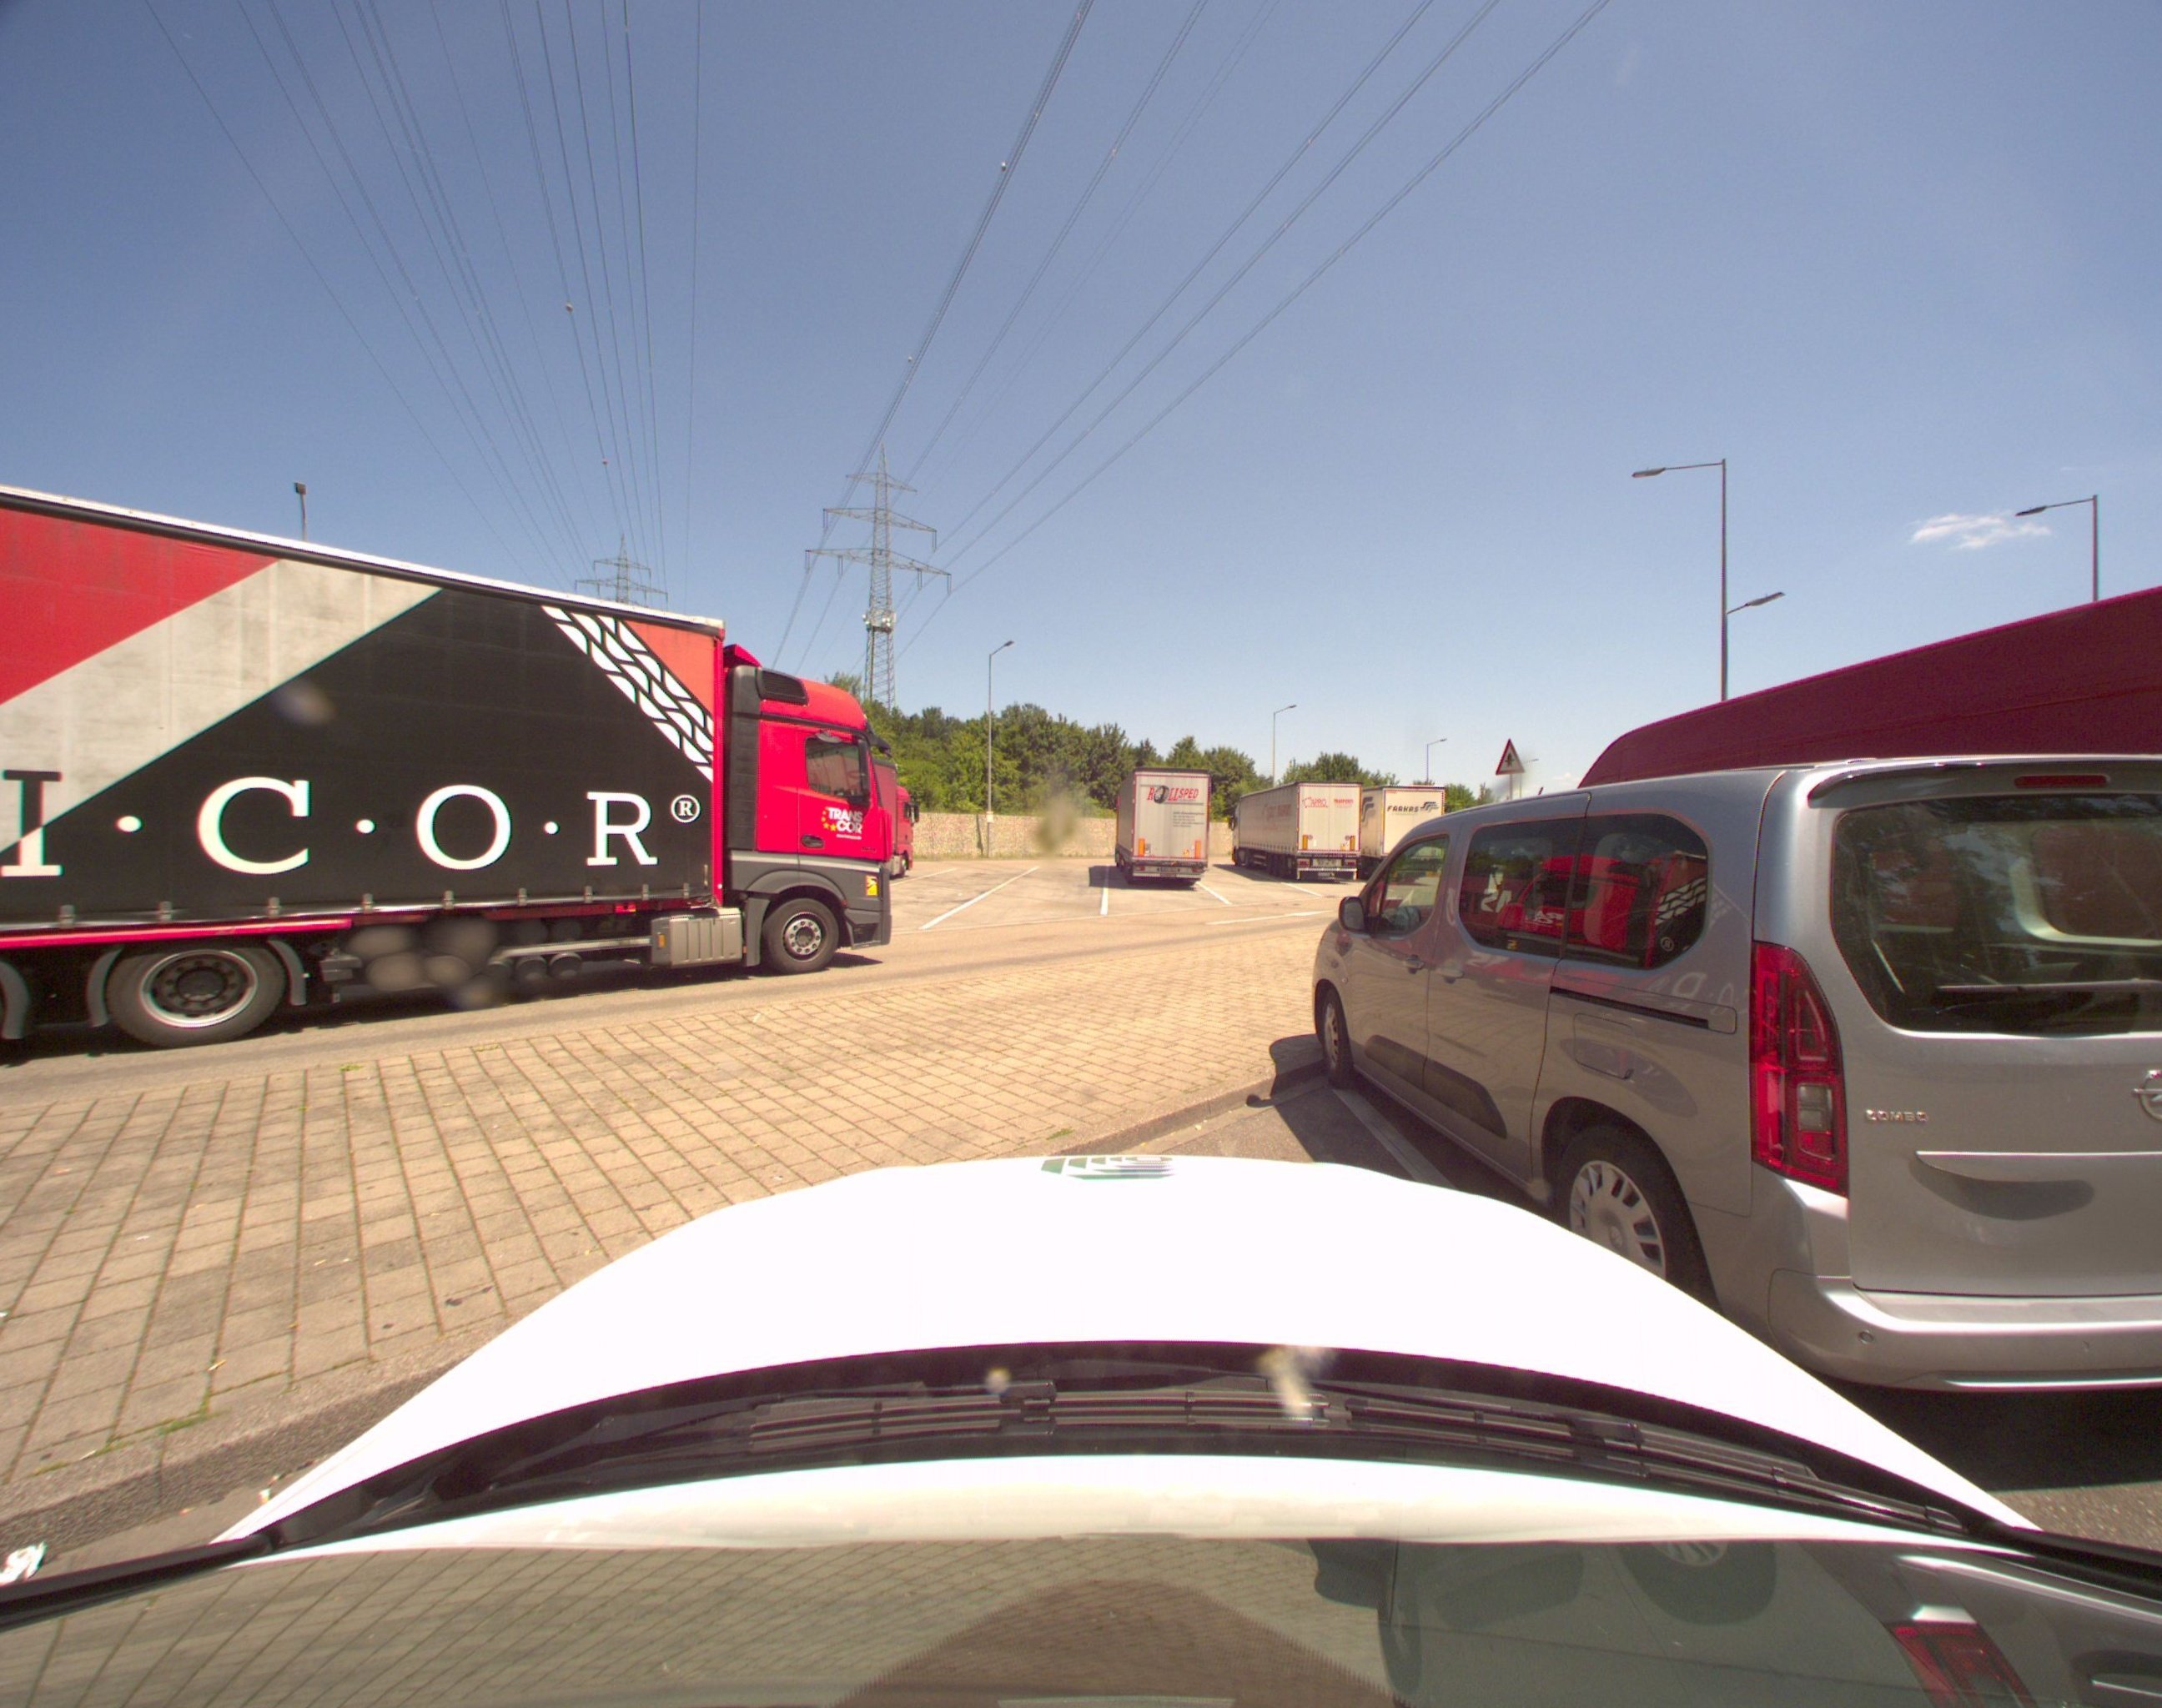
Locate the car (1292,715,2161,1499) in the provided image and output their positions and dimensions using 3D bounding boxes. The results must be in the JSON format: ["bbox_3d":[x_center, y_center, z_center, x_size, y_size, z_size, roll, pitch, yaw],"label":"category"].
[{"bbox_3d":[2.477,0.530,3.858,1.821,1.753,3.998,-1,1,-2],"label":"car"}]

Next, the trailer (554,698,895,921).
[{"bbox_3d":[-8.040,-0.919,21.538,2.739,4.057,13.292,-1,1,2],"label":"trailer"}]

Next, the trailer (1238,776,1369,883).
[{"bbox_3d":[9.945,-1.066,38.418,2.865,4.124,13.577,0,1,2],"label":"trailer"}]

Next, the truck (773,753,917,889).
[{"bbox_3d":[-7.833,-1.052,28.022,2.733,4.081,6.832,-1,1,1],"label":"truck"}]

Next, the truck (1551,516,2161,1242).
[{"bbox_3d":[5.107,0.051,4.880,1.983,2.623,5.312,0,1,6],"label":"truck"}]

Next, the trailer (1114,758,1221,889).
[{"bbox_3d":[3.051,-1.187,32.746,3.059,4.227,12.811,1,2,1],"label":"trailer"}]

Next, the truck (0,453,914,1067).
[{"bbox_3d":[-6.886,-0.671,7.745,2.660,4.127,10.668,0,1,45],"label":"truck"}]

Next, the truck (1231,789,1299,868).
[{"bbox_3d":[10.132,-1.393,45.420,2.747,4.124,5.286,-1,1,2],"label":"truck"}]

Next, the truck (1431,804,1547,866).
[{"bbox_3d":[24.467,-1.126,49.444,3.013,3.437,8.534,-1,1,2],"label":"truck"}]

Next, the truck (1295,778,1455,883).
[{"bbox_3d":[13.580,-1.056,39.662,2.894,4.124,14.533,2,1,2],"label":"truck"}]

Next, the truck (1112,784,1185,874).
[{"bbox_3d":[3.132,-1.221,39.518,3.016,3.928,6.848,1,2,1],"label":"truck"}]
